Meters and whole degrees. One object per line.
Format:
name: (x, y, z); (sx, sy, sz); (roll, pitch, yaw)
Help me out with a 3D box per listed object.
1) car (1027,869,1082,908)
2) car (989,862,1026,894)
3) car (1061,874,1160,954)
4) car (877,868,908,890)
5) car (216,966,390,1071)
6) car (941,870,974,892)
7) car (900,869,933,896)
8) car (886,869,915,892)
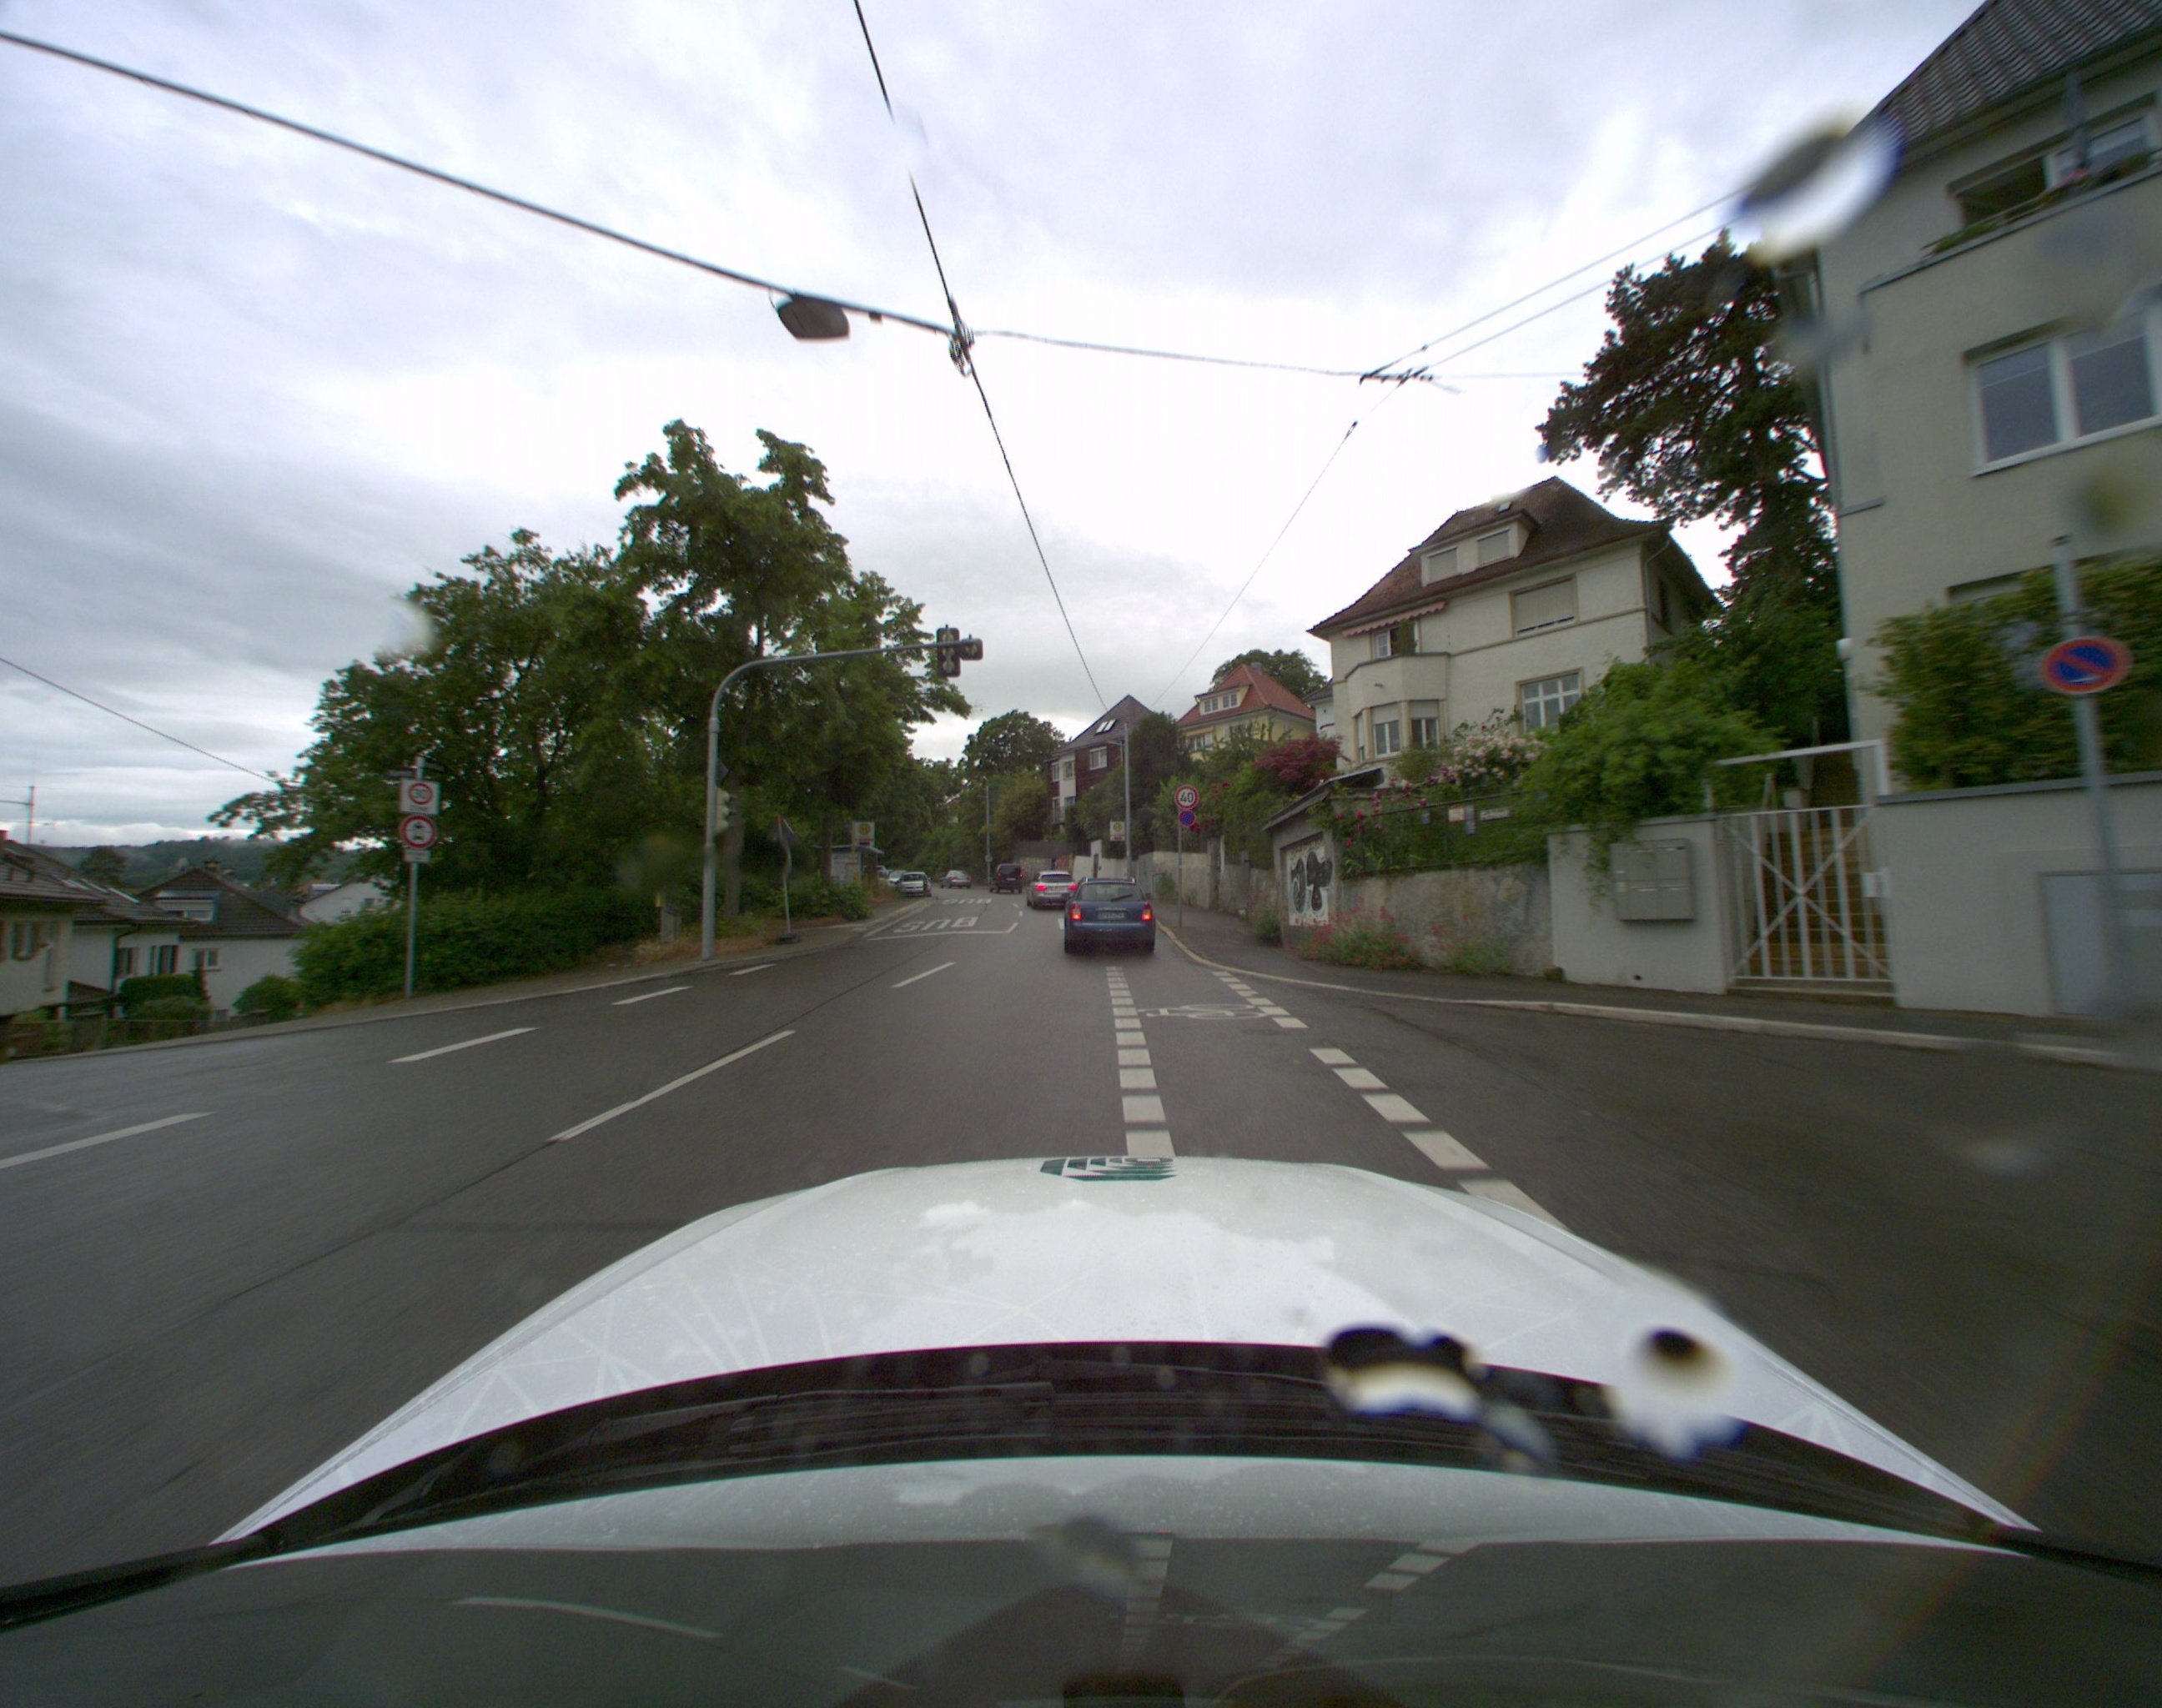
car: (-1.119, 1.333, 32.439); (1.906, 1.388, 4.342); (2, -1, -5)
car: (-4.729, 1.515, 51.711); (1.733, 1.894, 4.036); (-2, -1, -13)
car: (0.578, 1.126, 16.632); (1.771, 1.439, 4.000); (0, -2, 1)
car: (-14.471, 1.932, 62.484); (1.680, 1.552, 3.873); (-2, -1, -22)
car: (-17.423, 3.607, 18.496); (1.853, 1.750, 3.960); (6, -5, -31)
car: (-9.895, 2.143, 65.122); (1.772, 1.570, 4.003); (-2, -1, -20)
car: (-9.345, 1.588, 46.370); (1.674, 1.427, 3.984); (-2, 0, -11)
car: (-12.747, 1.841, 57.418); (1.678, 1.427, 3.977); (-2, -1, -17)
